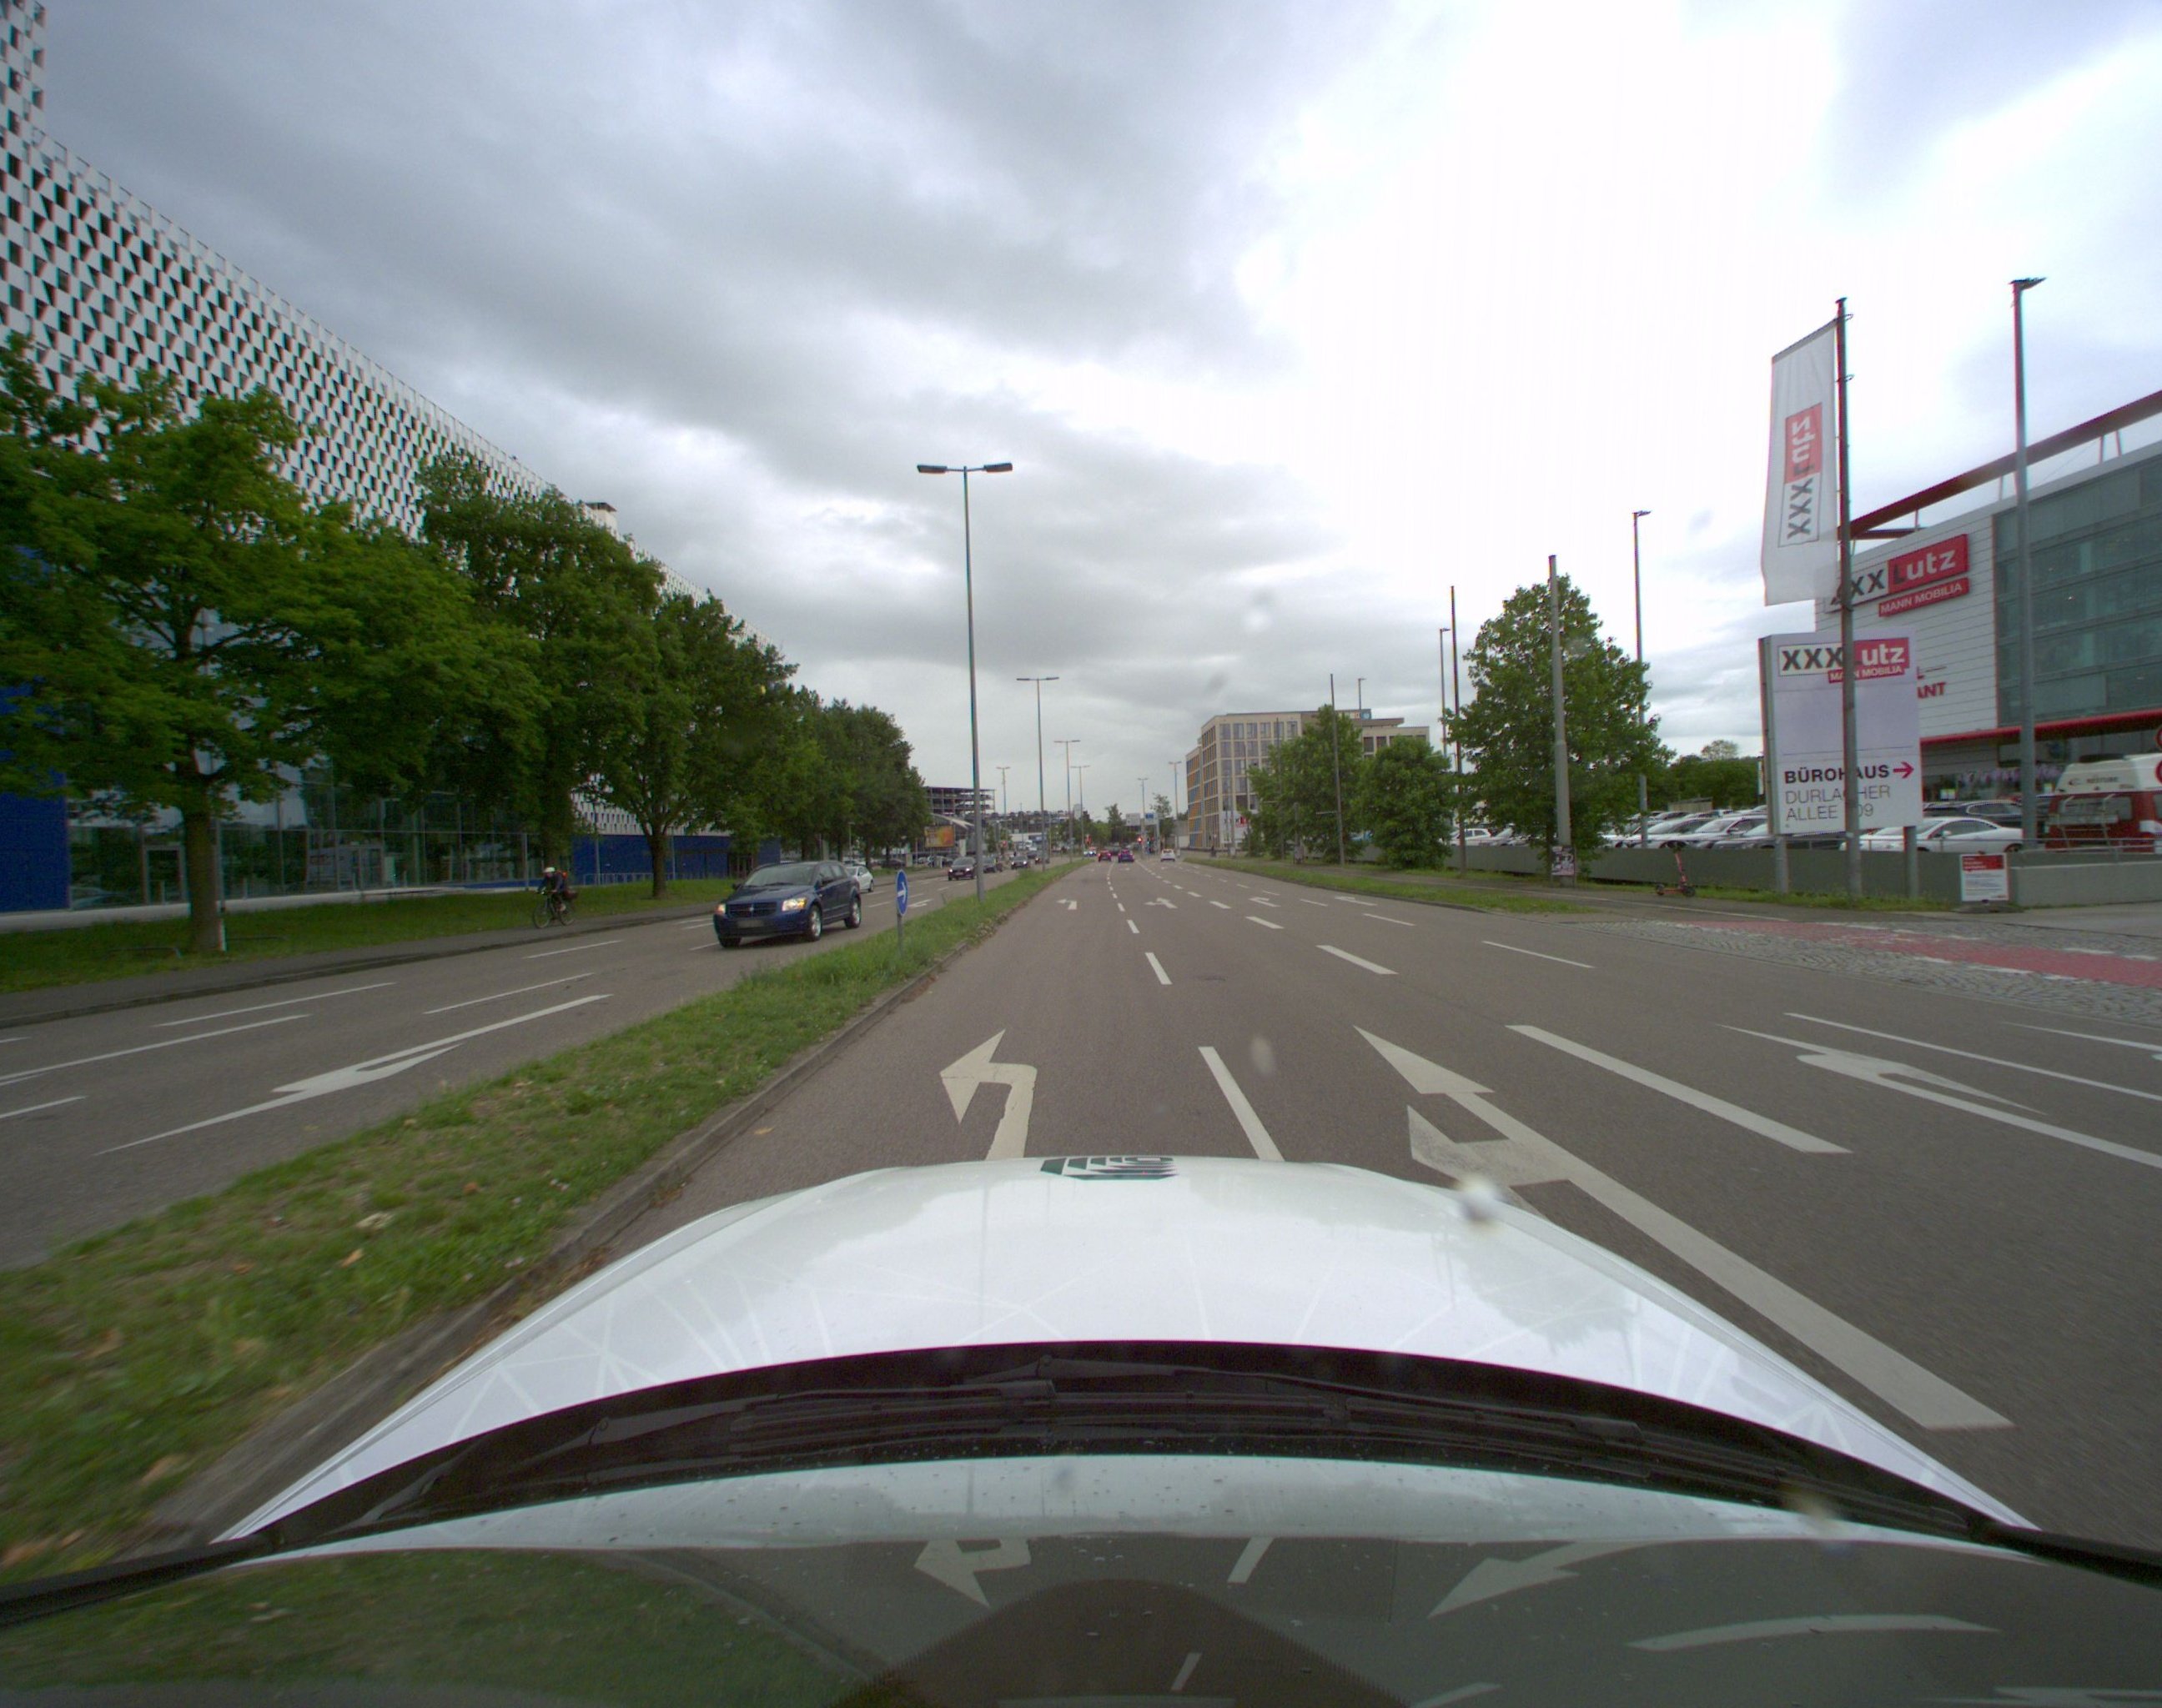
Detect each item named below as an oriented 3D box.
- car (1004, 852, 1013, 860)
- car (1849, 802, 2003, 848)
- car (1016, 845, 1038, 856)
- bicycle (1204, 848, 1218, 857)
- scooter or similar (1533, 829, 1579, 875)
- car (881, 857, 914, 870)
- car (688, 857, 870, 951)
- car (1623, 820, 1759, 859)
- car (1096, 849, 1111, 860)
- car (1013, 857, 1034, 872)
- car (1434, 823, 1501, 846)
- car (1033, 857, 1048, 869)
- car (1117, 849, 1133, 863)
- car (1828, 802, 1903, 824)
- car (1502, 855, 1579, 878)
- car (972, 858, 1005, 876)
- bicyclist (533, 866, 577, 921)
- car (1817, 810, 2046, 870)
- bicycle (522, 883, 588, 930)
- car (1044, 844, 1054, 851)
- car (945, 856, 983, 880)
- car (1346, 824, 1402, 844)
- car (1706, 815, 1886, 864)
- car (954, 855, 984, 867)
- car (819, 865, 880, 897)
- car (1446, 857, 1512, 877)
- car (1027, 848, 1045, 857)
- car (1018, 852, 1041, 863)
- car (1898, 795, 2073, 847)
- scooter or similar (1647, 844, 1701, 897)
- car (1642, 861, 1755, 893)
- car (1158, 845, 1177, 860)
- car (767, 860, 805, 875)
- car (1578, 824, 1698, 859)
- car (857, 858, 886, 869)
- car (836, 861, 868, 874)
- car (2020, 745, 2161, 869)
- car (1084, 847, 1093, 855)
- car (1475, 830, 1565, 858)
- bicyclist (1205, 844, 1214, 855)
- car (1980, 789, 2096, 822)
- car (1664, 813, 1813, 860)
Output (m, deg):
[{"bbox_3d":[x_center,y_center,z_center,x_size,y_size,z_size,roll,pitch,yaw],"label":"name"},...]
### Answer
[{"bbox_3d":[-13.421,0.326,151.286,1.371,1.326,3.025,-2,2,-9],"label":"car"},{"bbox_3d":[33.941,-1.126,32.805,4.154,1.663,1.835,-2,0,3],"label":"car"},{"bbox_3d":[-10.357,-0.683,156.449,3.978,1.790,1.846,-2,2,-3],"label":"car"},{"bbox_3d":[17.948,-0.179,112.664,0.705,1.295,1.990,-2,1,-34],"label":"bicycle"},{"bbox_3d":[15.709,-0.062,26.985,0.646,1.421,1.824,-3,-1,10],"label":"scooter or similar"},{"bbox_3d":[-28.108,1.470,125.016,4.536,1.659,1.997,-3,1,-5],"label":"car"},{"bbox_3d":[-5.825,0.880,16.390,1.925,1.486,4.439,-4,0,0],"label":"car"},{"bbox_3d":[24.117,-0.579,32.301,4.041,1.350,1.835,-2,2,-1],"label":"car"},{"bbox_3d":[3.007,0.117,109.643,1.981,1.428,4.240,-2,-1,0],"label":"car"},{"bbox_3d":[-6.164,1.115,87.329,1.774,1.455,4.183,-4,0,1],"label":"car"},{"bbox_3d":[24.732,-1.263,52.158,3.507,1.307,1.604,-2,2,-5],"label":"car"},{"bbox_3d":[-5.550,1.228,111.032,1.926,1.455,4.178,-2,0,-3],"label":"car"},{"bbox_3d":[5.335,0.198,99.133,1.828,1.514,4.002,-2,1,2],"label":"car"},{"bbox_3d":[55.026,-2.869,57.137,3.578,1.376,1.704,-2,2,3],"label":"car"},{"bbox_3d":[29.882,0.832,53.063,4.042,1.350,1.763,-2,0,-1],"label":"car"},{"bbox_3d":[-8.314,1.142,73.557,1.761,1.452,4.416,-4,0,9],"label":"car"},{"bbox_3d":[-15.858,1.175,24.575,0.638,1.577,1.000,-1,0,0],"label":"bicyclist"},{"bbox_3d":[23.804,-0.415,22.920,4.357,1.461,1.962,-2,2,2],"label":"car"},{"bbox_3d":[-15.824,1.562,24.559,0.640,1.251,2.056,-1,0,0],"label":"bicycle"},{"bbox_3d":[-7.912,-1.582,200.067,1.766,1.705,3.925,-2,2,7],"label":"car"},{"bbox_3d":[-7.835,0.915,54.835,1.751,1.453,4.002,-4,0,2],"label":"car"},{"bbox_3d":[24.694,-1.686,68.743,4.058,1.524,1.811,-2,2,-3],"label":"car"},{"bbox_3d":[24.150,-0.510,27.640,4.448,1.419,1.868,-2,2,2],"label":"car"},{"bbox_3d":[-17.314,1.096,125.748,4.409,1.660,1.996,-2,0,-5],"label":"car"},{"bbox_3d":[-11.961,1.360,42.346,1.859,1.454,4.169,-4,0,1],"label":"car"},{"bbox_3d":[29.766,0.958,60.993,4.038,1.350,1.765,-2,0,2],"label":"car"},{"bbox_3d":[-9.153,-0.294,166.763,3.597,1.667,1.547,-2,2,-3],"label":"car"},{"bbox_3d":[-8.851,0.636,139.858,3.849,1.634,1.723,-2,2,-4],"label":"car"},{"bbox_3d":[33.578,-1.234,30.330,4.294,1.743,1.891,-2,2,3],"label":"car"},{"bbox_3d":[14.191,0.376,19.522,0.369,1.191,1.248,-3,1,1],"label":"scooter or similar"},{"bbox_3d":[29.441,1.065,38.931,4.040,1.350,1.764,-2,0,1],"label":"car"},{"bbox_3d":[10.756,-0.217,101.512,1.985,1.752,4.183,-2,0,3],"label":"car"},{"bbox_3d":[-45.079,2.071,124.478,5.120,1.963,1.879,-2,3,-3],"label":"car"},{"bbox_3d":[24.123,-0.569,35.381,4.041,1.350,1.764,-2,2,-1],"label":"car"},{"bbox_3d":[-36.018,1.619,139.993,4.409,1.660,1.996,-2,0,-5],"label":"car"},{"bbox_3d":[-35.942,2.057,128.144,4.424,1.711,1.998,-2,4,-4],"label":"car"},{"bbox_3d":[24.357,-1.095,17.981,4.704,2.579,2.172,-2,2,2],"label":"car"},{"bbox_3d":[1.470,-0.587,159.651,1.594,1.453,3.327,-2,2,2],"label":"car"},{"bbox_3d":[24.301,-0.545,45.164,4.041,1.350,1.764,-2,2,-1],"label":"car"},{"bbox_3d":[17.814,-0.613,112.849,0.705,1.504,0.989,-2,1,-34],"label":"bicyclist"},{"bbox_3d":[49.747,-2.491,42.396,3.774,1.553,1.745,-2,2,5],"label":"car"},{"bbox_3d":[24.146,-0.653,30.013,4.038,1.540,1.765,-2,2,2],"label":"car"}]
